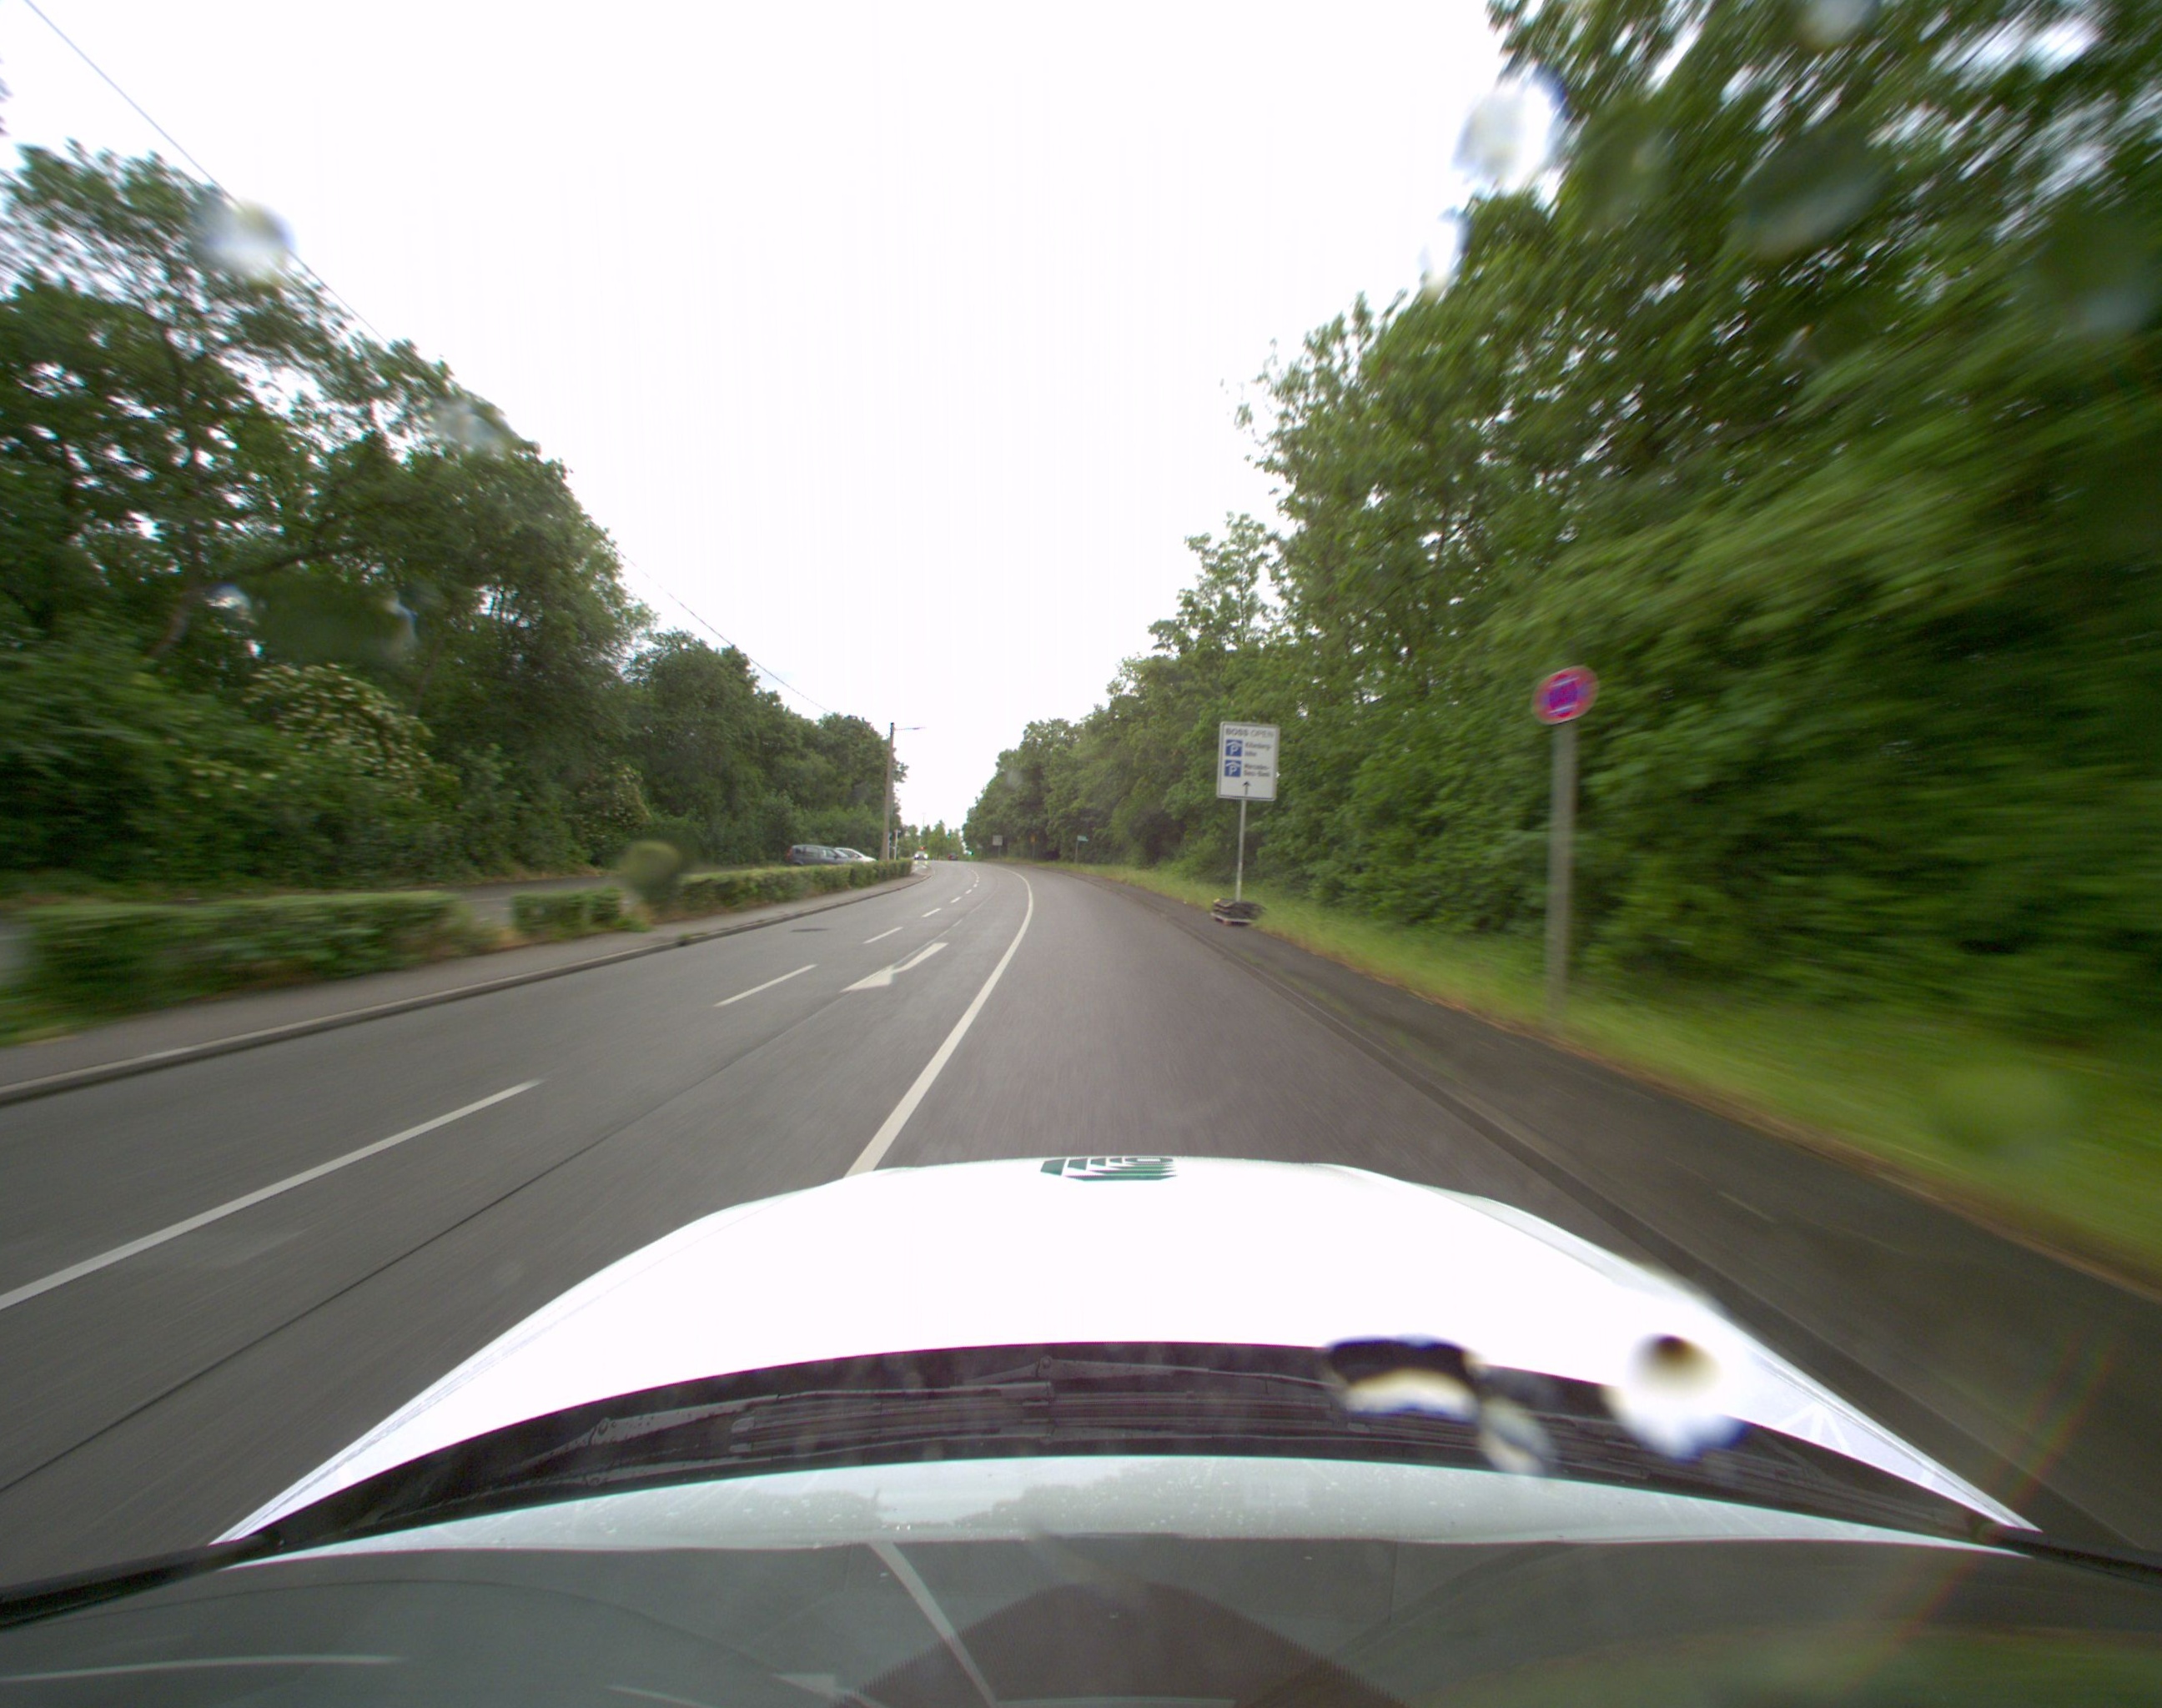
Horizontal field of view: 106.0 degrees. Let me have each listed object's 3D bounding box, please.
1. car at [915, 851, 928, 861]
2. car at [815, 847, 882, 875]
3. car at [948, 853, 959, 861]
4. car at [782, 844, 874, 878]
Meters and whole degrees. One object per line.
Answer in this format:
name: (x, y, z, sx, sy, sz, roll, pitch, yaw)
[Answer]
car: (-25.097, 0.257, 127.859, 1.936, 1.498, 4.301, 1, 0, -12)
car: (-13.989, 0.418, 49.244, 3.643, 1.591, 1.846, 1, 0, -9)
car: (-26.538, 0.574, 169.610, 1.932, 1.498, 4.310, 1, 0, -5)
car: (-13.480, 0.365, 43.620, 4.279, 1.708, 1.999, 1, 0, -2)
